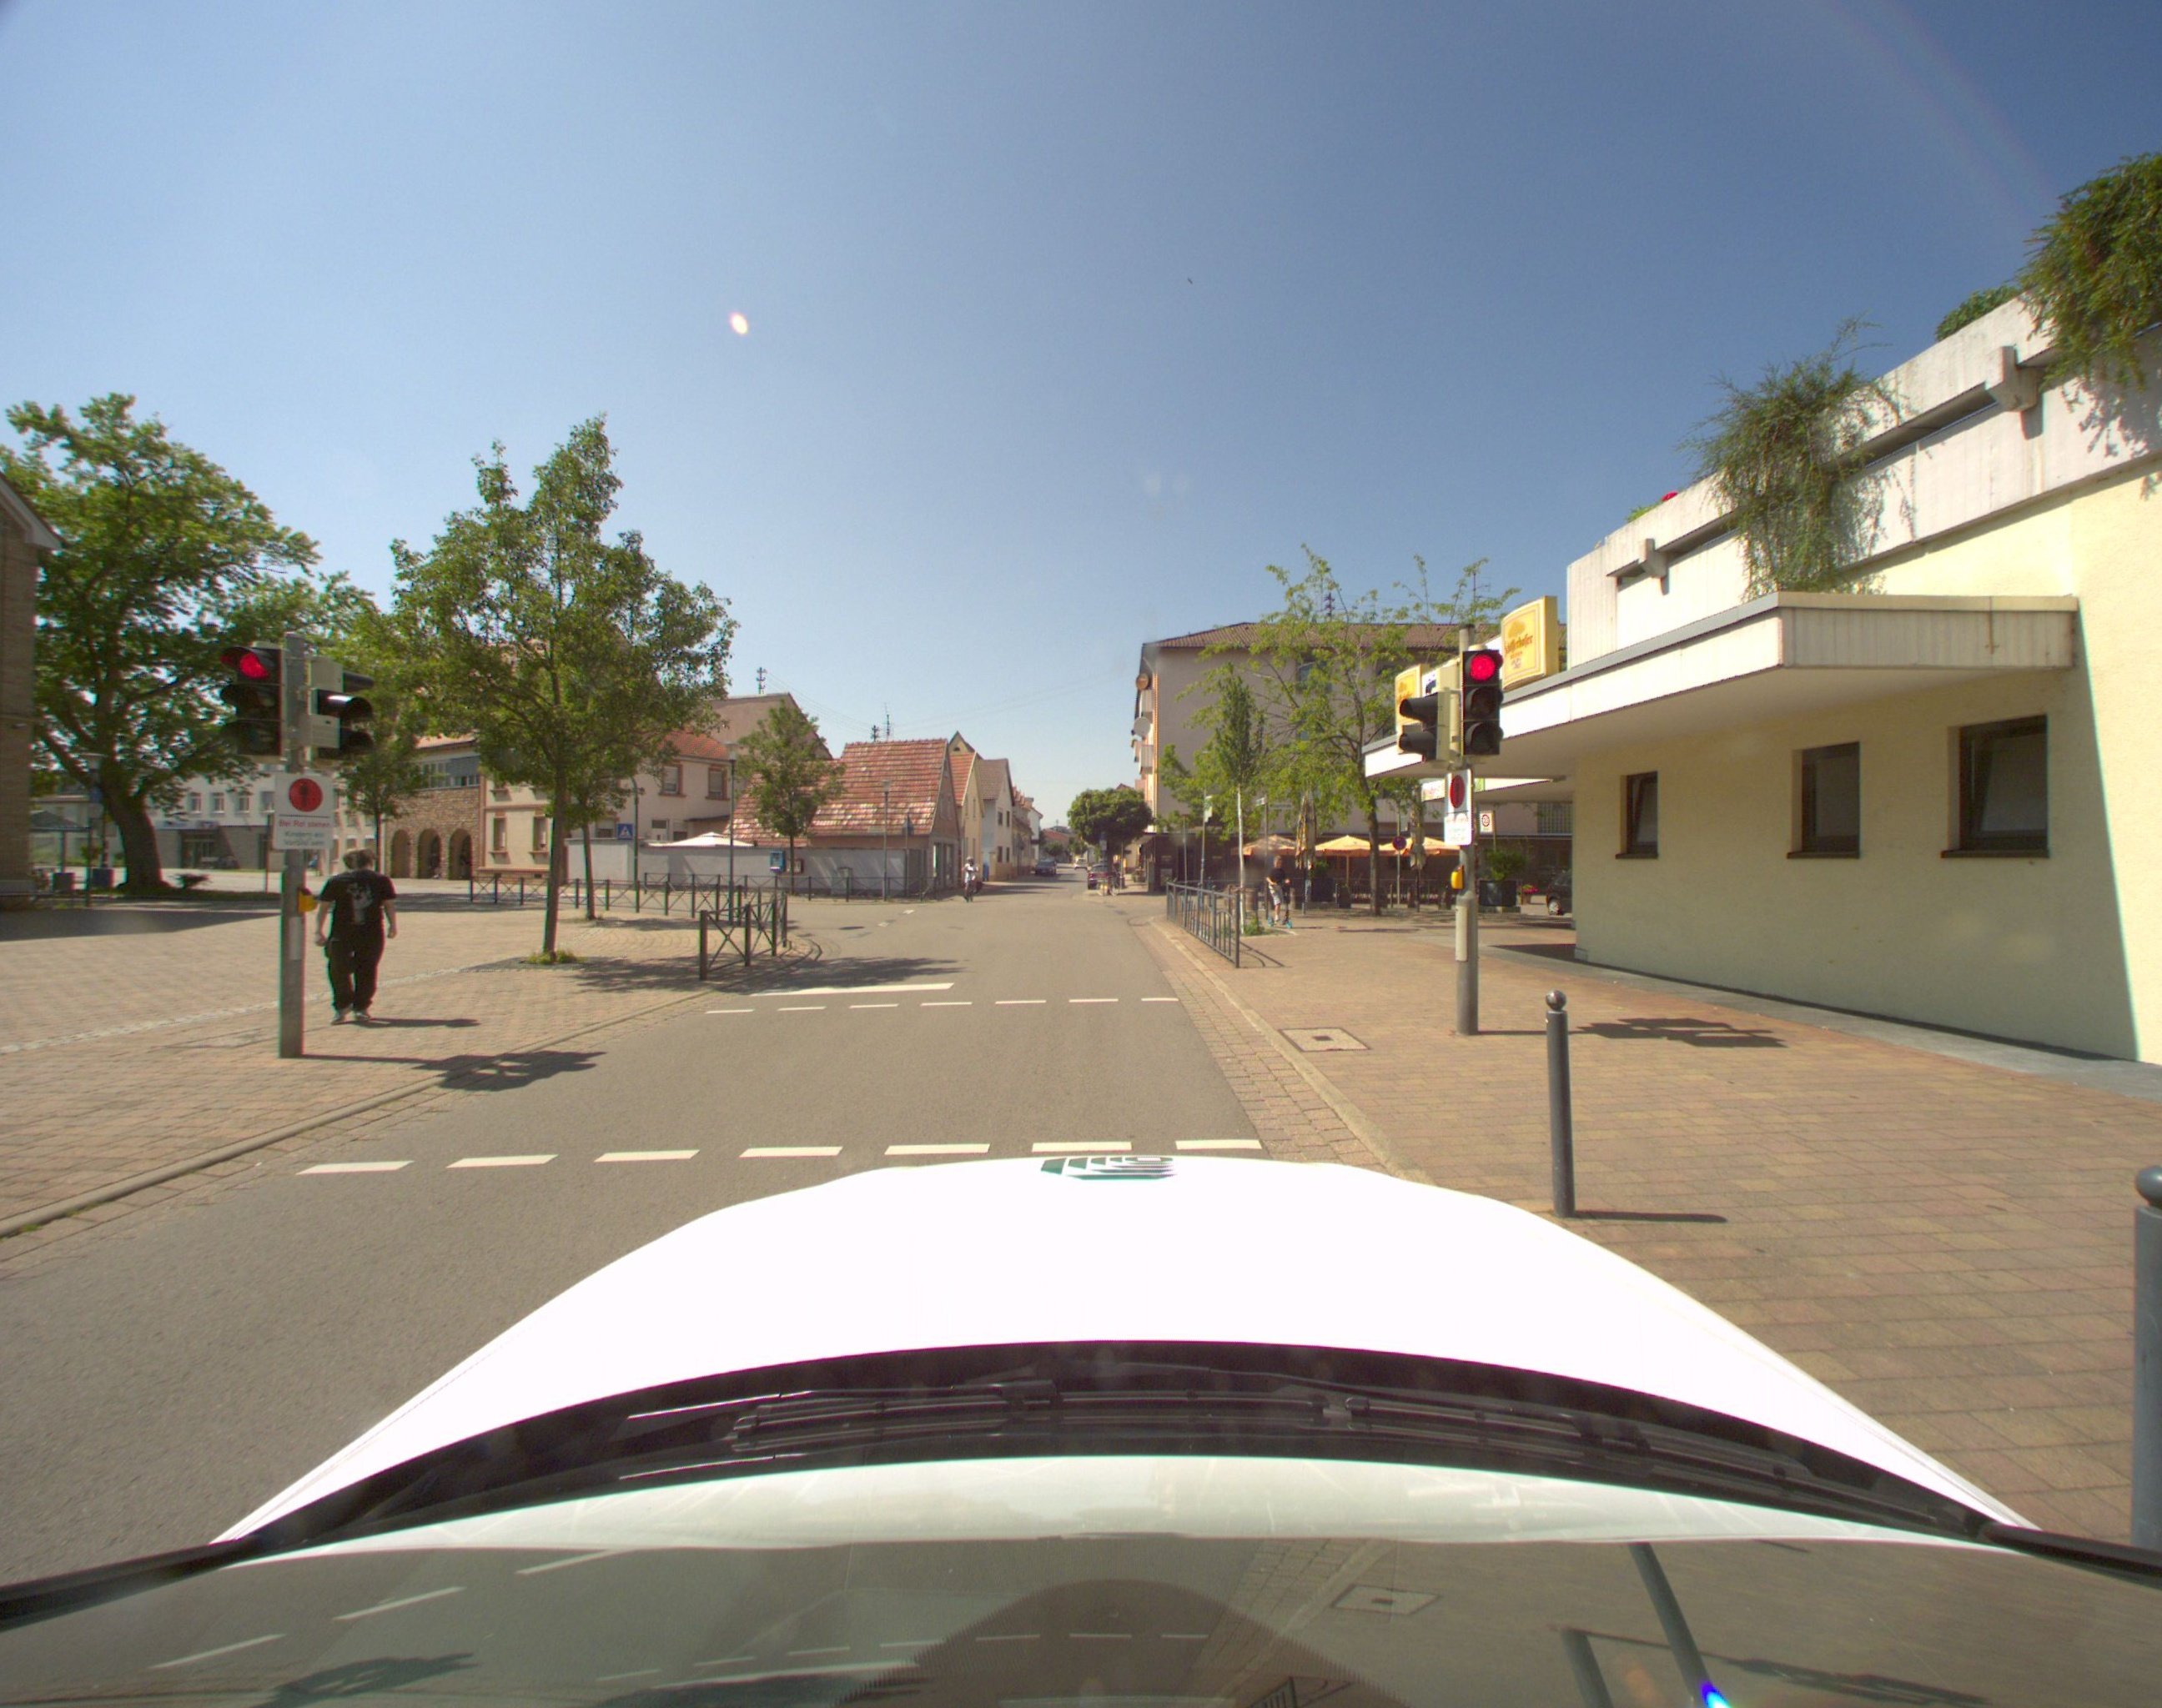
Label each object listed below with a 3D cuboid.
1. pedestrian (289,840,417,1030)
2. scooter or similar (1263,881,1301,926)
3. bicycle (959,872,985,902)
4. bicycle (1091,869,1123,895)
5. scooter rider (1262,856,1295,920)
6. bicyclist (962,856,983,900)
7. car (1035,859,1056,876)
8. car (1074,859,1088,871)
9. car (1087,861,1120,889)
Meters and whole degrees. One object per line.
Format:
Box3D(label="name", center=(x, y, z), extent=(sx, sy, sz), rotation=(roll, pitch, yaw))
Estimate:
Box3D(label="pedestrian", center=(-6.839, 0.720, 7.705), extent=(0.818, 1.655, 0.841), rotation=(2, -2, -40))
Box3D(label="scooter or similar", center=(4.065, 0.991, 16.523), extent=(0.379, 0.873, 0.886), rotation=(0, -1, -13))
Box3D(label="bicycle", center=(-4.180, 1.239, 31.402), extent=(0.671, 1.094, 1.896), rotation=(-1, -1, 2))
Box3D(label="bicycle", center=(1.244, 1.309, 38.714), extent=(0.530, 1.193, 1.655), rotation=(1, -1, -42))
Box3D(label="scooter rider", center=(4.005, 0.680, 16.547), extent=(0.517, 1.286, 0.416), rotation=(0, -1, -14))
Box3D(label="bicyclist", center=(-4.175, 0.919, 31.354), extent=(0.666, 1.691, 0.762), rotation=(-1, -1, 1))
Box3D(label="car", center=(-3.370, 1.292, 78.437), extent=(1.707, 1.517, 3.789), rotation=(0, -1, 3))
Box3D(label="car", center=(0.053, 1.487, 112.902), extent=(1.827, 1.652, 4.002), rotation=(0, -1, 2))
Box3D(label="car", center=(1.356, 1.201, 47.492), extent=(1.797, 1.501, 4.003), rotation=(0, 0, 3))
